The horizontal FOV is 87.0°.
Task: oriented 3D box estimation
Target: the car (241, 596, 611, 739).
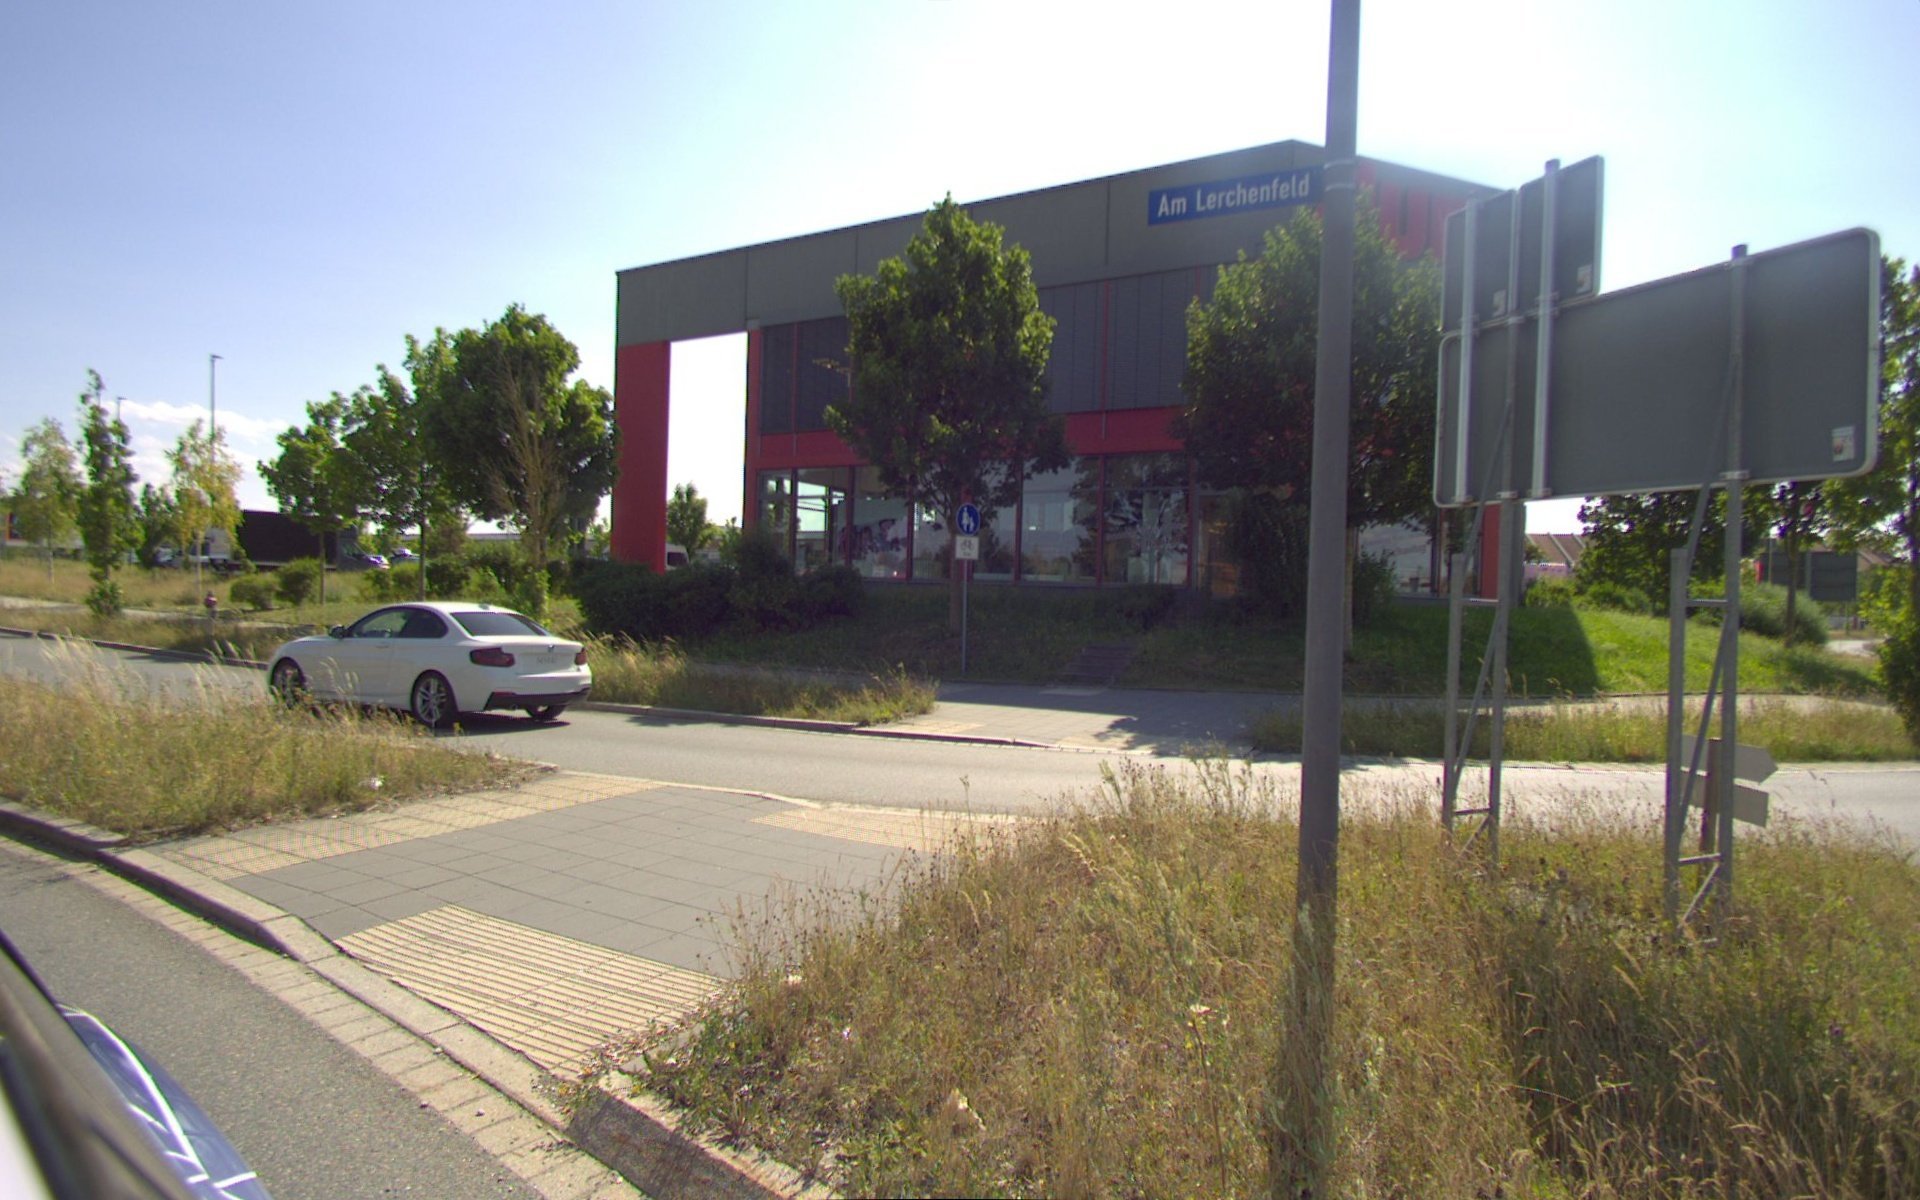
[{"bbox_3d":[-6.657,0.748,12.585,4.357,1.426,1.782,2,-1,25],"label":"car"}]
